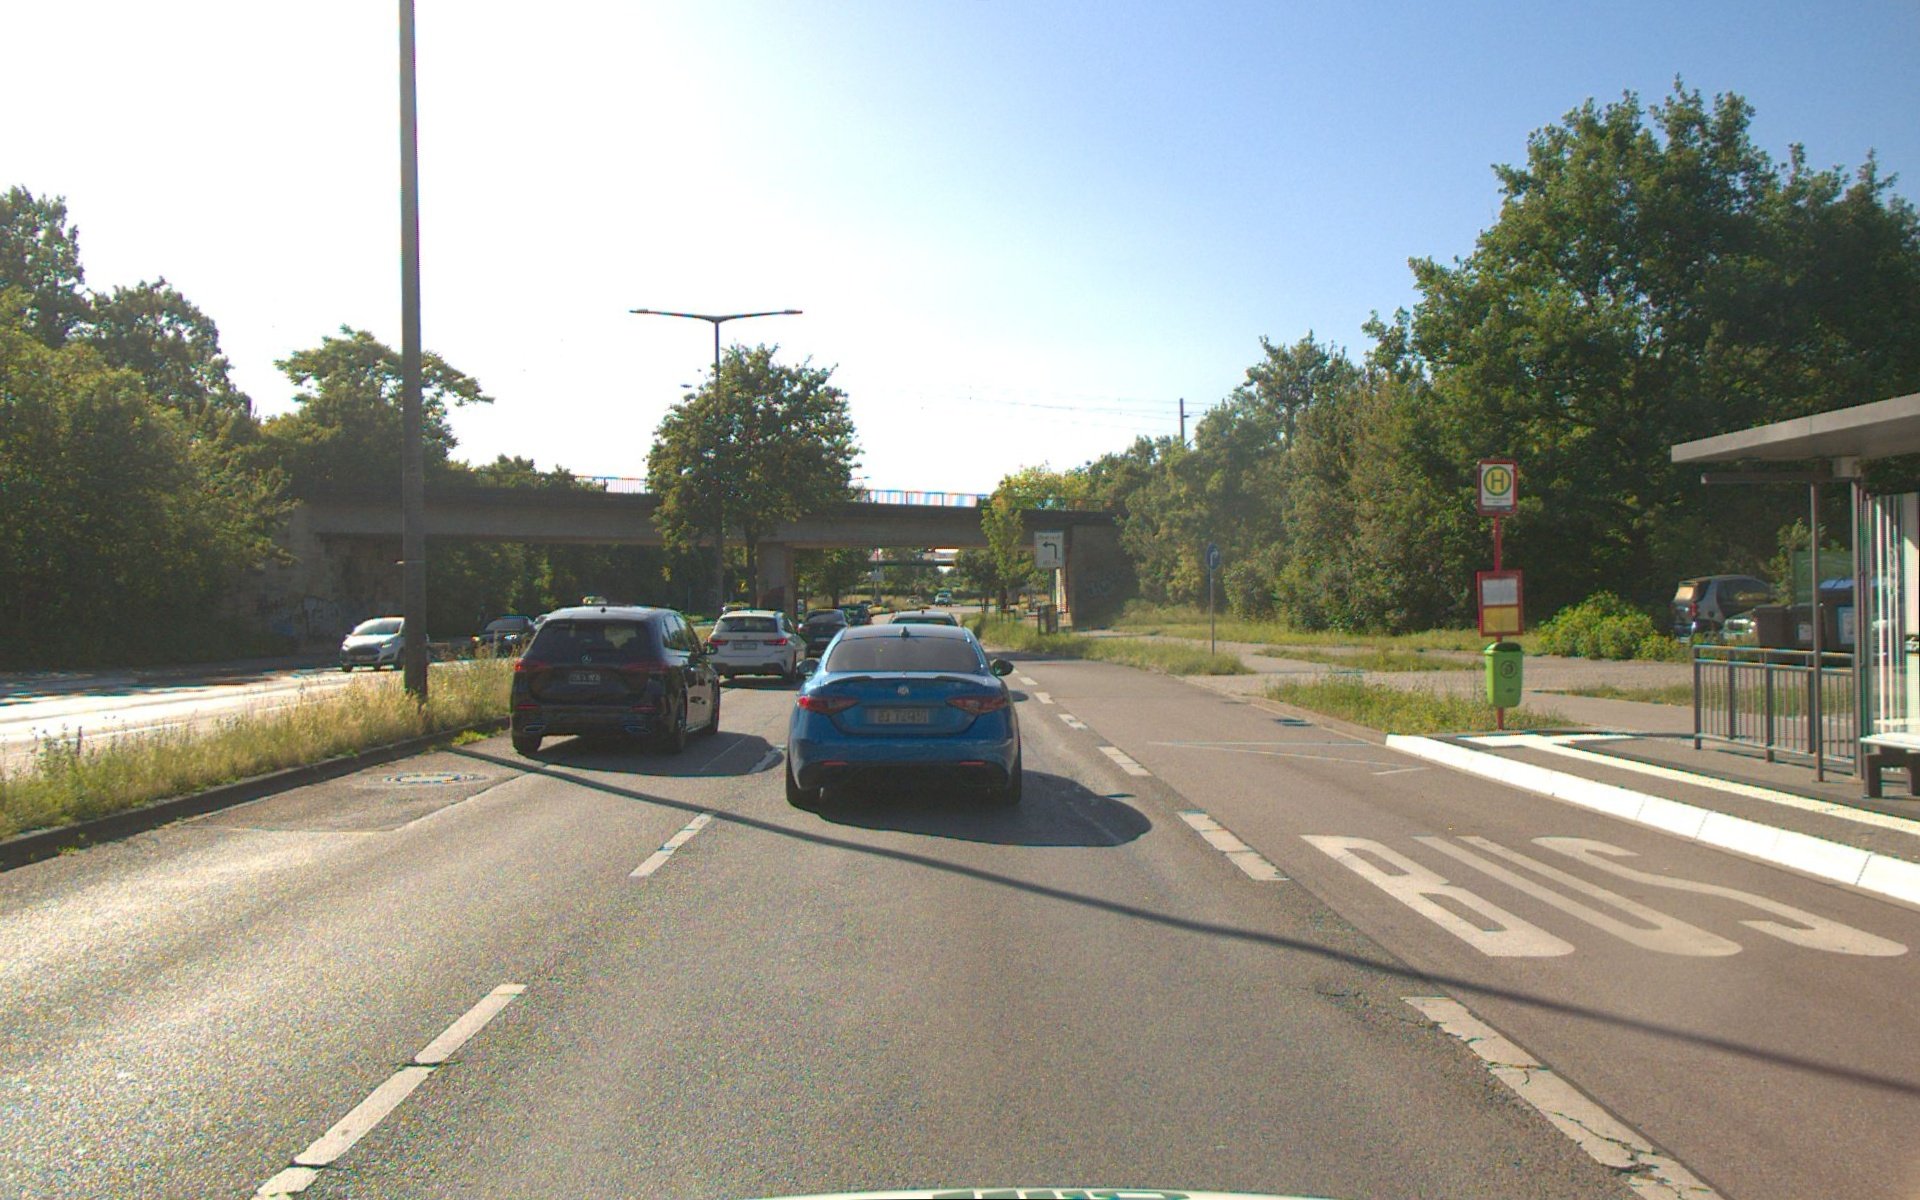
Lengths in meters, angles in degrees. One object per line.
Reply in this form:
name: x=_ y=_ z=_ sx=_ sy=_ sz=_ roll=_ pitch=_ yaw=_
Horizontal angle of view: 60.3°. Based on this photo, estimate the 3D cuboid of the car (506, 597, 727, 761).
car: x=-3.743 y=0.813 z=18.698 sx=1.673 sy=1.626 sz=4.223 roll=1 pitch=-1 yaw=-1

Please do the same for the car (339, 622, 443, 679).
car: x=-16.359 y=1.429 z=47.769 sx=1.608 sy=1.476 sz=4.110 roll=-3 pitch=-1 yaw=-1

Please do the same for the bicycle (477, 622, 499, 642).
bicycle: x=-24.904 y=1.700 z=87.228 sx=0.669 sy=1.048 sz=1.714 roll=1 pitch=-1 yaw=-1

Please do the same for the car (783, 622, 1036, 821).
car: x=-0.410 y=0.919 z=14.267 sx=1.845 sy=1.431 sz=4.223 roll=1 pitch=-1 yaw=-1

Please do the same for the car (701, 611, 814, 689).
car: x=-4.102 y=0.991 z=34.130 sx=1.845 sy=1.479 sz=4.525 roll=1 pitch=-1 yaw=-1

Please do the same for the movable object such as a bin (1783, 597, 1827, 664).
movable object such as a bin: x=14.609 y=0.527 z=28.589 sx=0.577 sy=1.140 sz=0.502 roll=0 pitch=-1 yaw=-43

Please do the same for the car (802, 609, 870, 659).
car: x=-3.848 y=1.045 z=51.943 sx=1.845 sy=1.479 sz=4.525 roll=1 pitch=-1 yaw=-1

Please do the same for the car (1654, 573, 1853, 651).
car: x=16.084 y=0.244 z=33.625 sx=3.216 sy=1.512 sz=1.772 roll=1 pitch=-1 yaw=0

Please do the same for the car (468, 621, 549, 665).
car: x=-16.674 y=1.548 z=61.319 sx=1.781 sy=1.460 sz=4.629 roll=-3 pitch=-1 yaw=-1

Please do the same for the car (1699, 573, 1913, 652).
car: x=16.104 y=0.245 z=31.590 sx=3.216 sy=1.442 sz=1.728 roll=1 pitch=-1 yaw=0

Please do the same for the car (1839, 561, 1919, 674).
car: x=15.986 y=0.156 z=25.249 sx=4.459 sy=1.668 sz=1.799 roll=-4 pitch=-1 yaw=29

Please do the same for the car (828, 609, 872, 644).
car: x=-4.847 y=1.144 z=73.247 sx=1.743 sy=1.479 sz=4.180 roll=-1 pitch=0 yaw=-1

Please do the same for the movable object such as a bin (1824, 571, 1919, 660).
movable object such as a bin: x=15.335 y=0.257 z=27.757 sx=0.981 sy=1.453 sz=1.240 roll=0 pitch=0 yaw=-44

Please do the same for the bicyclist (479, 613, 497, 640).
bicyclist: x=-24.897 y=1.390 z=87.272 sx=0.666 sy=1.426 sz=1.026 roll=1 pitch=-1 yaw=-1

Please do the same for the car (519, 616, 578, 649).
car: x=-20.466 y=1.596 z=82.421 sx=1.875 sy=1.480 sz=4.488 roll=-3 pitch=-1 yaw=-1

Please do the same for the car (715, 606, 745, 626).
car: x=-17.784 y=1.238 z=127.868 sx=1.779 sy=1.467 sz=4.088 roll=-1 pitch=-1 yaw=-1

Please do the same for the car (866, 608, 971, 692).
car: x=-0.780 y=0.920 z=31.730 sx=1.845 sy=1.479 sz=4.525 roll=1 pitch=-1 yaw=-1

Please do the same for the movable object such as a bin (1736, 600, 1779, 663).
movable object such as a bin: x=14.015 y=0.551 z=29.060 sx=0.577 sy=1.093 sz=0.502 roll=0 pitch=0 yaw=-43
